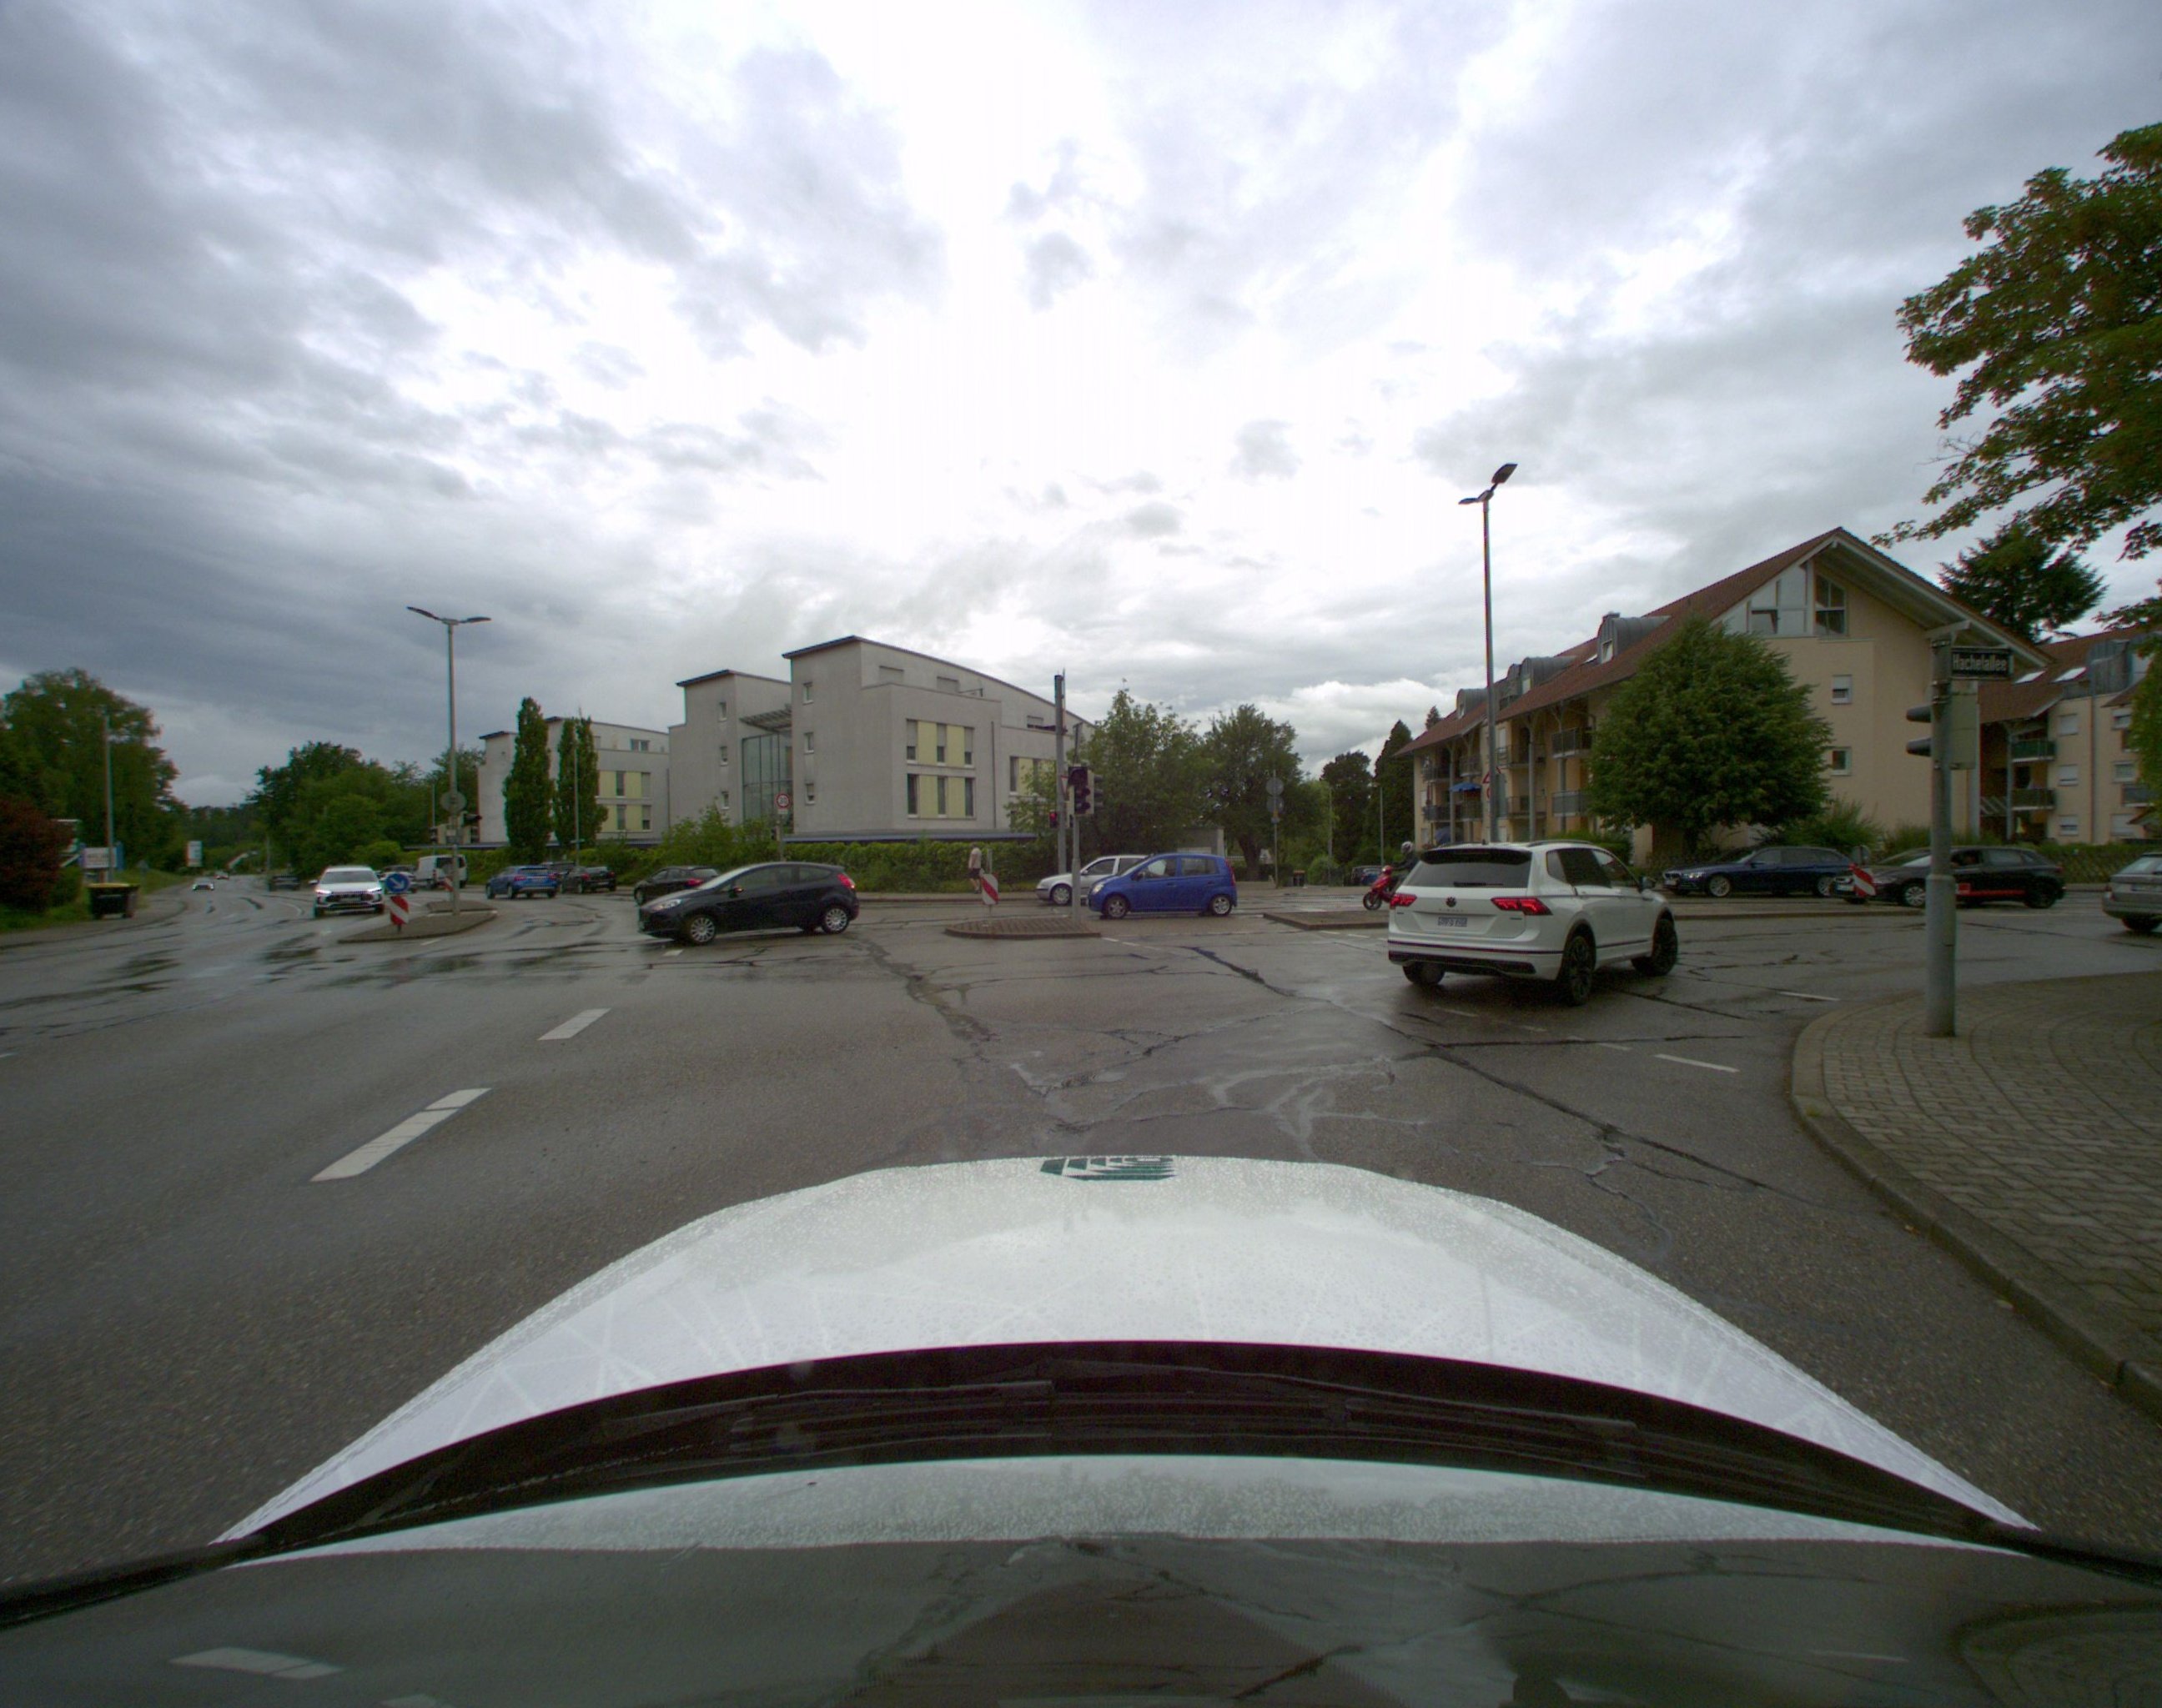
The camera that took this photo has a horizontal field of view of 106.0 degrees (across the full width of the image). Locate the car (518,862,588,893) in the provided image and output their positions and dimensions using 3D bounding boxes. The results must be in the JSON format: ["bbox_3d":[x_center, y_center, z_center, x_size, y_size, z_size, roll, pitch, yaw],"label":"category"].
[{"bbox_3d":[-29.176,1.268,44.974,3.948,1.555,2.013,-1,2,39],"label":"car"}]

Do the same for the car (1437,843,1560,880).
[{"bbox_3d":[17.080,0.332,33.526,4.162,1.439,1.828,-1,-1,11],"label":"car"}]

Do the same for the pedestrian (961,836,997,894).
[{"bbox_3d":[-3.594,0.384,28.698,0.791,2.013,0.855,-2,1,33],"label":"pedestrian"}]

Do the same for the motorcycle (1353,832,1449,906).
[{"bbox_3d":[7.581,0.357,19.360,1.905,1.624,0.799,-4,-1,6],"label":"motorcycle"}]

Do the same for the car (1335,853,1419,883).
[{"bbox_3d":[24.540,1.137,67.738,5.971,2.200,2.858,1,1,5],"label":"car"}]

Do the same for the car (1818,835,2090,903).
[{"bbox_3d":[20.283,0.334,19.098,4.167,1.408,1.826,-2,0,7],"label":"car"}]

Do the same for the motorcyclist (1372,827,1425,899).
[{"bbox_3d":[7.530,0.218,19.365,0.931,1.624,0.774,-3,-1,6],"label":"motorcyclist"}]

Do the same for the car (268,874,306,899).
[{"bbox_3d":[-76.275,3.087,78.188,3.949,2.013,1.994,3,4,37],"label":"car"}]

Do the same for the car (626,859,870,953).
[{"bbox_3d":[-6.393,0.889,15.811,4.019,1.500,1.904,-1,1,-38],"label":"car"}]

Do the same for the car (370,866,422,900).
[{"bbox_3d":[-43.340,1.768,51.536,3.950,1.757,2.012,4,4,43],"label":"car"}]

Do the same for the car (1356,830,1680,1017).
[{"bbox_3d":[5.314,0.610,9.665,4.287,1.722,1.905,-2,1,-40],"label":"car"}]

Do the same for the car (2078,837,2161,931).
[{"bbox_3d":[19.586,0.520,13.642,3.983,1.509,1.767,1,3,-7],"label":"car"}]

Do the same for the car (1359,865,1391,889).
[{"bbox_3d":[20.088,1.545,55.778,1.747,1.408,3.878,-2,0,15],"label":"car"}]

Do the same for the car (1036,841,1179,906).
[{"bbox_3d":[0.763,0.536,23.792,3.973,1.669,2.001,1,3,1],"label":"car"}]

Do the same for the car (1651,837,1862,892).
[{"bbox_3d":[18.915,0.273,22.966,4.314,1.435,1.764,-1,0,7],"label":"car"}]

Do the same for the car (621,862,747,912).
[{"bbox_3d":[-14.371,1.192,29.462,3.950,1.552,2.012,-2,1,26],"label":"car"}]

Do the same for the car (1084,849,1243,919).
[{"bbox_3d":[1.833,0.653,18.761,3.424,1.456,1.522,-1,1,-5],"label":"car"}]

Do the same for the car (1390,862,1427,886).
[{"bbox_3d":[21.160,1.268,52.672,1.747,1.408,3.878,-2,0,15],"label":"car"}]

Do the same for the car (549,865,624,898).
[{"bbox_3d":[-25.662,1.386,42.228,3.948,1.555,2.013,-1,2,39],"label":"car"}]

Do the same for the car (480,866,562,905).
[{"bbox_3d":[-25.812,1.411,37.509,3.948,1.555,2.013,-1,2,39],"label":"car"}]

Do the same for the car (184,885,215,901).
[{"bbox_3d":[-108.279,4.809,100.049,3.949,1.455,2.013,4,5,35],"label":"car"}]

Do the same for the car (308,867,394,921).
[{"bbox_3d":[-25.807,1.352,28.933,2.010,1.640,3.954,-1,1,-38],"label":"car"}]

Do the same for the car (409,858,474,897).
[{"bbox_3d":[-44.956,1.683,57.209,5.188,2.413,2.617,-4,-1,41],"label":"car"}]
